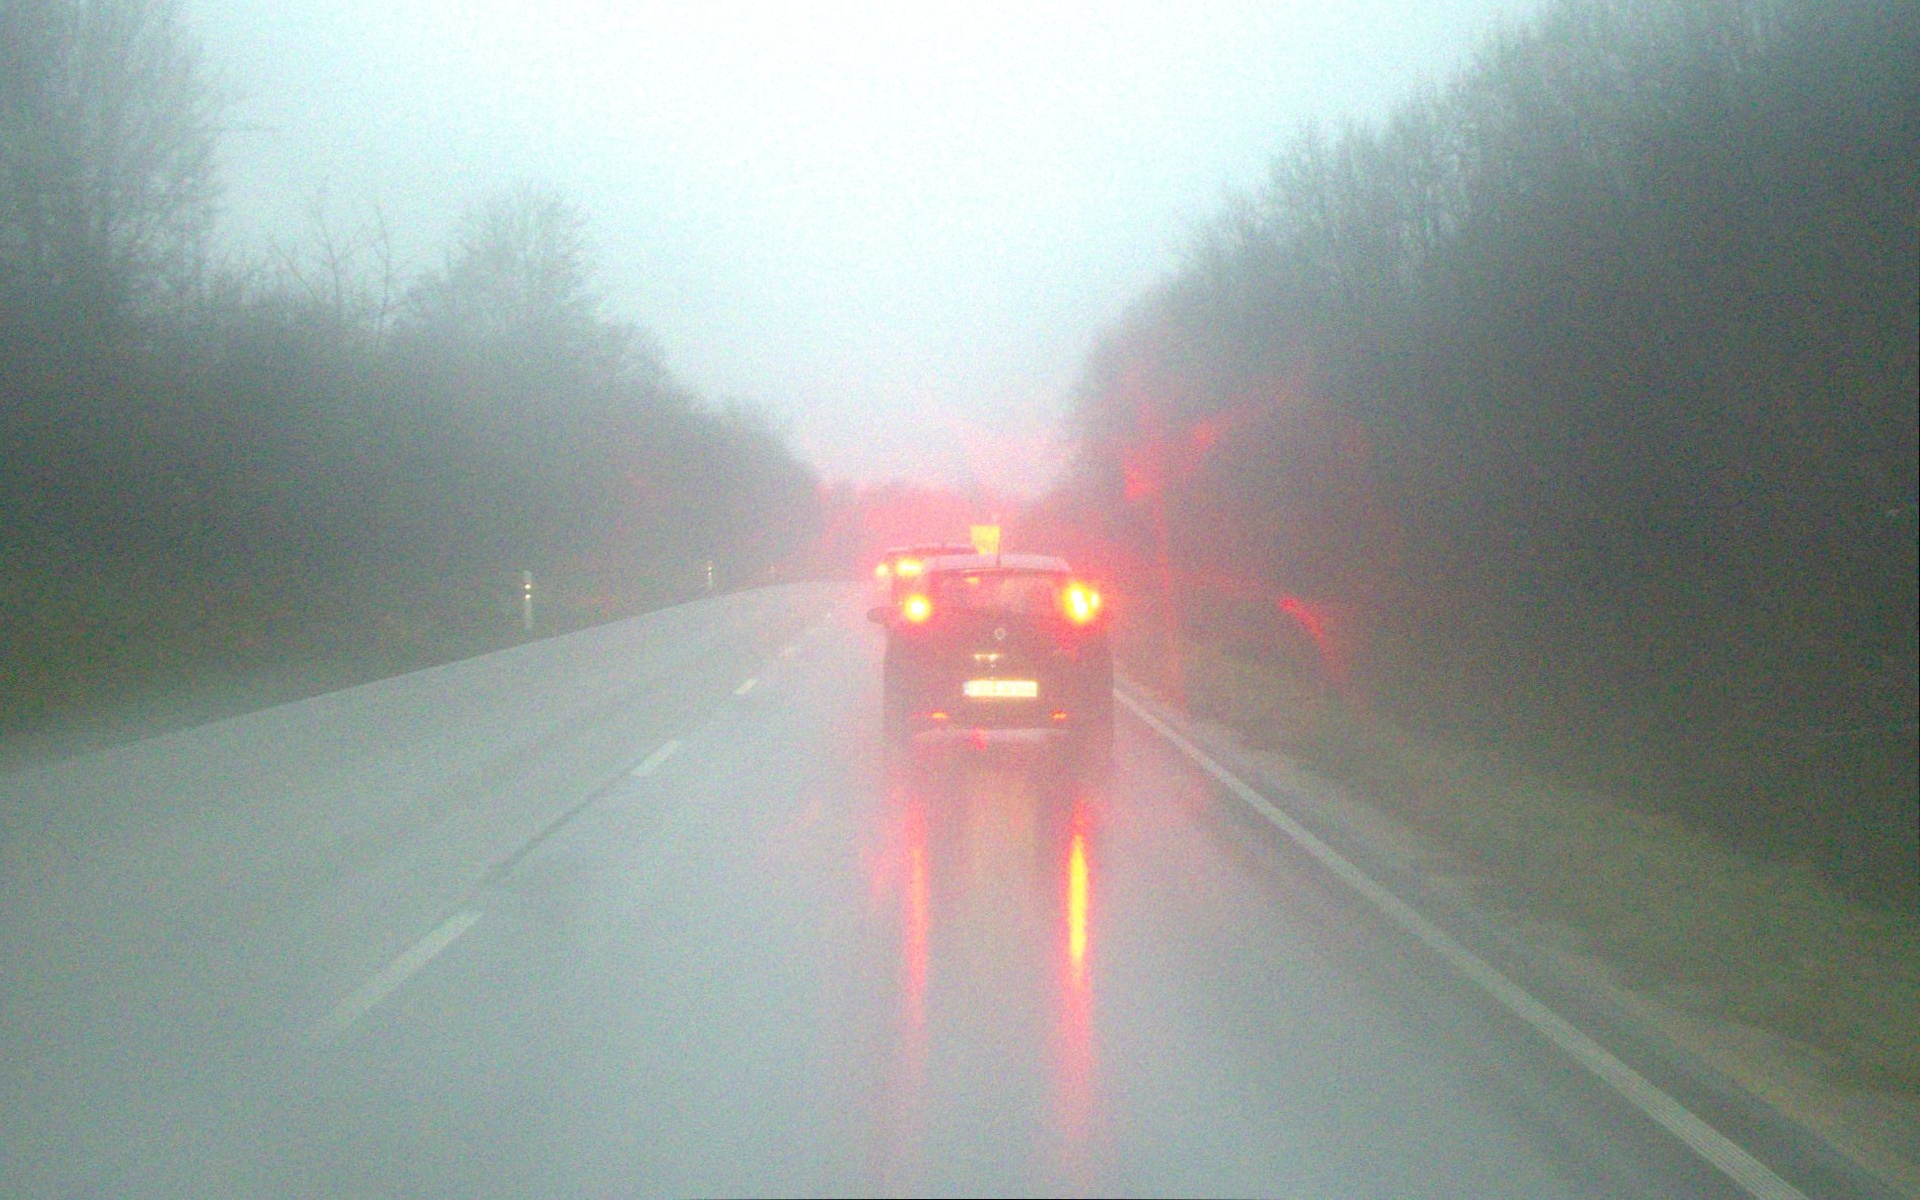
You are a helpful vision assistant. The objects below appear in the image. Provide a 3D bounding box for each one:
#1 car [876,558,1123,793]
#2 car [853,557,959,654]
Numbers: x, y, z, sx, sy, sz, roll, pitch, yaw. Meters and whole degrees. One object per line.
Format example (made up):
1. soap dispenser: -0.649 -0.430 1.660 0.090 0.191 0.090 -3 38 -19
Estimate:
1. car: 0.301 0.514 26.244 1.728 1.638 4.000 1 0 1
2. car: -0.916 0.077 60.206 1.728 1.638 4.000 1 0 1
